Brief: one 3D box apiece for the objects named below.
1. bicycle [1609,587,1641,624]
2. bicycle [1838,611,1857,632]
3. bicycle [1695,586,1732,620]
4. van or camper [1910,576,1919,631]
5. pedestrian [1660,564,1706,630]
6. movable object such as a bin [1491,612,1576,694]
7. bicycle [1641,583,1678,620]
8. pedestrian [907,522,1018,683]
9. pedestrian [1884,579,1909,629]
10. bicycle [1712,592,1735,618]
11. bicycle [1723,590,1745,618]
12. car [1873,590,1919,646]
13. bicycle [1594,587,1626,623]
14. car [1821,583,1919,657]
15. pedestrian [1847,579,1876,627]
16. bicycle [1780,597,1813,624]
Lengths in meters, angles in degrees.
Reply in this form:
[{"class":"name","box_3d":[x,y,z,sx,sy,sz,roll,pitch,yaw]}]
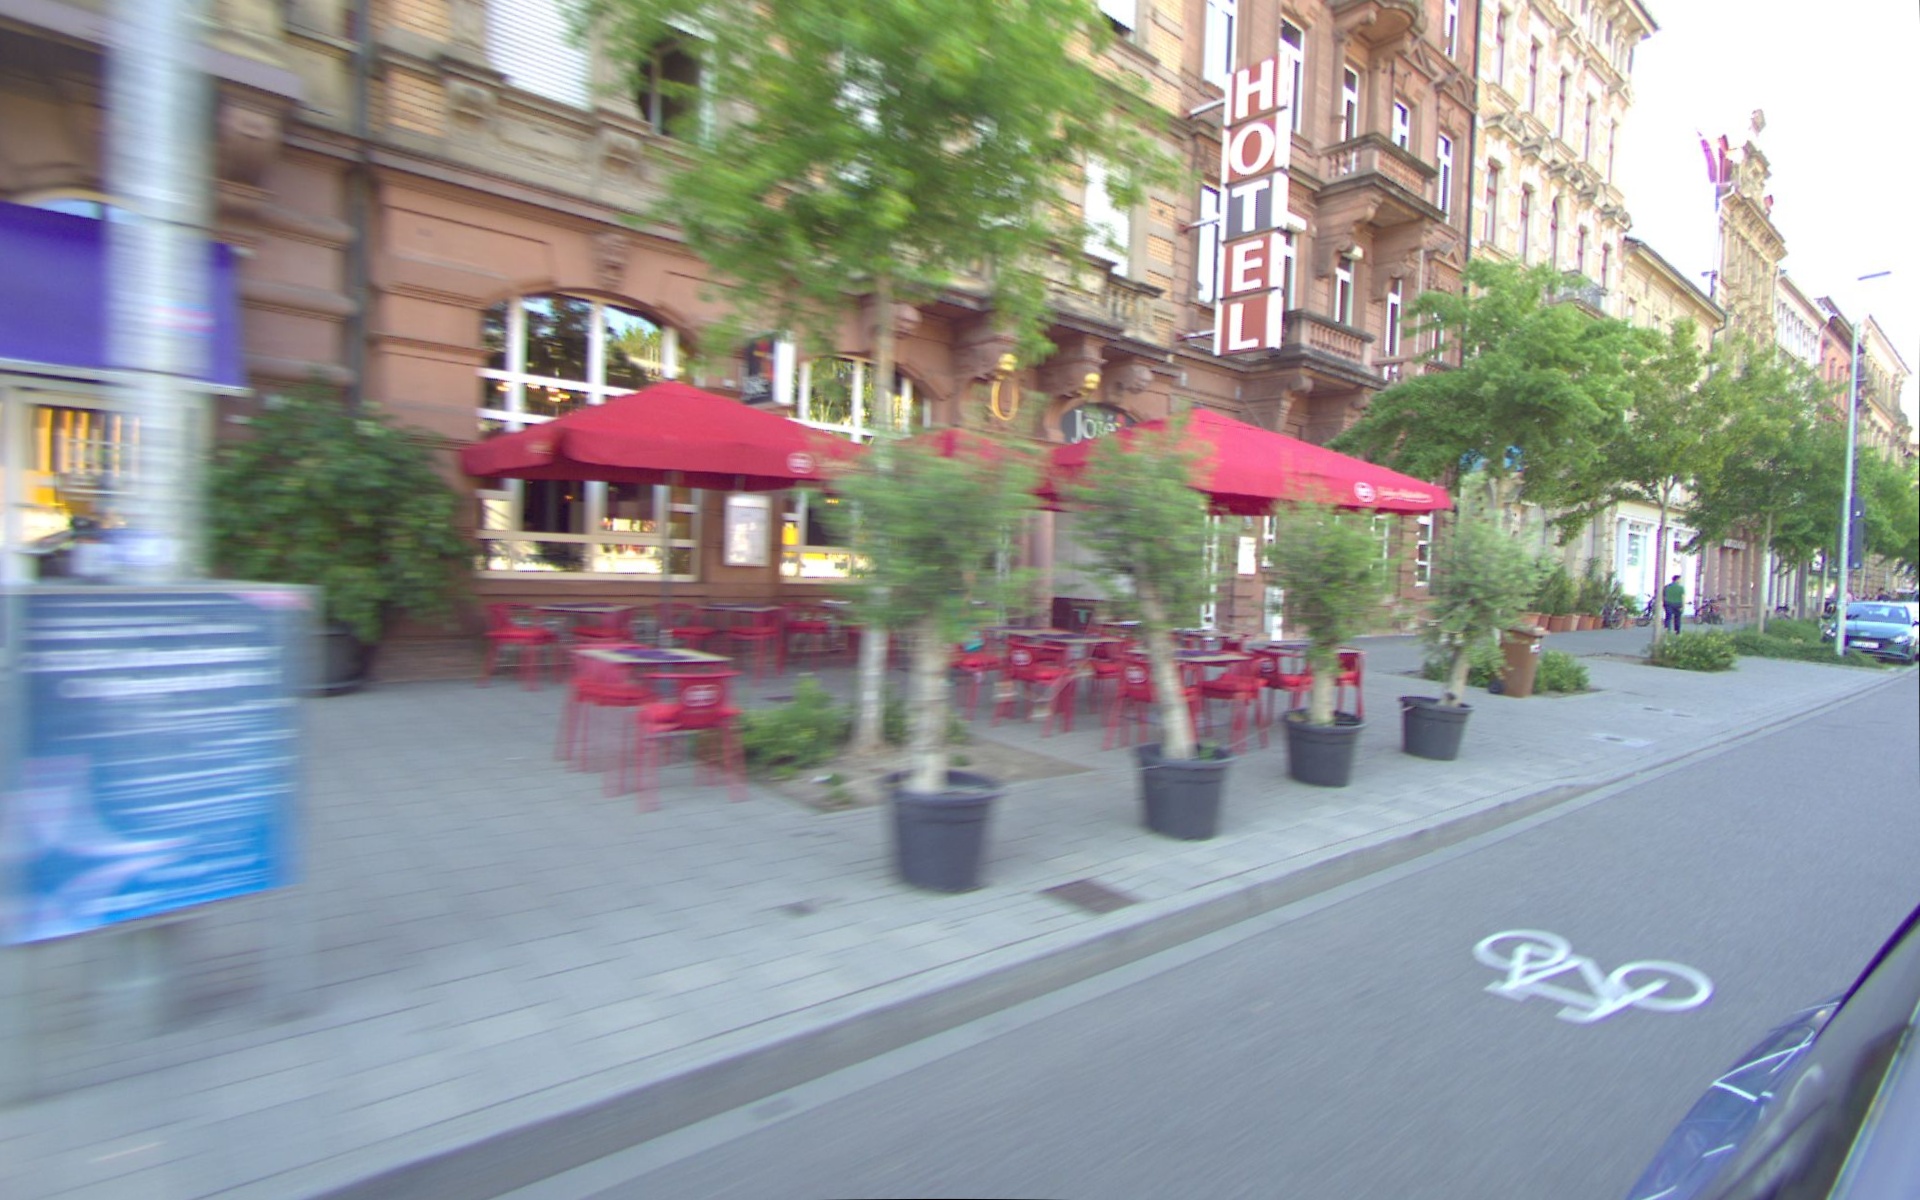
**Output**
[{"class":"bicycle","box_3d":[20.212,0.151,30.747,1.647,1.093,0.385,0,1,-41]},{"class":"bicycle","box_3d":[28.914,0.704,32.970,0.985,0.655,0.355,0,2,-42]},{"class":"bicycle","box_3d":[28.937,0.107,38.862,2.037,1.235,0.706,0,2,-42]},{"class":"van or camper","box_3d":[37.457,0.202,38.006,5.391,1.995,1.965,0,4,-41]},{"class":"pedestrian","box_3d":[20.252,-0.080,28.340,1.053,1.776,0.749,0,3,-41]},{"class":"movable object such as a bin","box_3d":[7.250,0.661,12.812,0.548,0.935,0.679,1,5,-21]},{"class":"bicycle","box_3d":[23.721,0.051,34.306,1.744,1.210,0.719,0,2,-45]},{"class":"pedestrian","box_3d":[0.022,0.006,10.435,0.783,1.552,0.729,0,4,-41]},{"class":"pedestrian","box_3d":[34.011,0.154,36.754,0.495,1.800,0.473,1,1,-22]},{"class":"bicycle","box_3d":[30.849,0.190,40.889,2.037,1.046,0.343,0,2,-42]},{"class":"bicycle","box_3d":[31.079,0.156,40.625,2.037,1.078,0.325,0,2,-42]},{"class":"car","box_3d":[27.810,0.520,29.040,5.163,1.471,1.852,0,4,-43]},{"class":"bicycle","box_3d":[19.921,0.148,31.007,1.647,1.093,0.385,0,1,-41]},{"class":"car","box_3d":[23.141,0.464,25.227,4.221,1.583,1.853,0,4,-41]},{"class":"pedestrian","box_3d":[33.590,0.109,37.711,0.566,1.749,0.482,1,1,4]},{"class":"bicycle","box_3d":[30.343,0.363,36.717,1.653,0.927,0.655,0,2,-42]}]
